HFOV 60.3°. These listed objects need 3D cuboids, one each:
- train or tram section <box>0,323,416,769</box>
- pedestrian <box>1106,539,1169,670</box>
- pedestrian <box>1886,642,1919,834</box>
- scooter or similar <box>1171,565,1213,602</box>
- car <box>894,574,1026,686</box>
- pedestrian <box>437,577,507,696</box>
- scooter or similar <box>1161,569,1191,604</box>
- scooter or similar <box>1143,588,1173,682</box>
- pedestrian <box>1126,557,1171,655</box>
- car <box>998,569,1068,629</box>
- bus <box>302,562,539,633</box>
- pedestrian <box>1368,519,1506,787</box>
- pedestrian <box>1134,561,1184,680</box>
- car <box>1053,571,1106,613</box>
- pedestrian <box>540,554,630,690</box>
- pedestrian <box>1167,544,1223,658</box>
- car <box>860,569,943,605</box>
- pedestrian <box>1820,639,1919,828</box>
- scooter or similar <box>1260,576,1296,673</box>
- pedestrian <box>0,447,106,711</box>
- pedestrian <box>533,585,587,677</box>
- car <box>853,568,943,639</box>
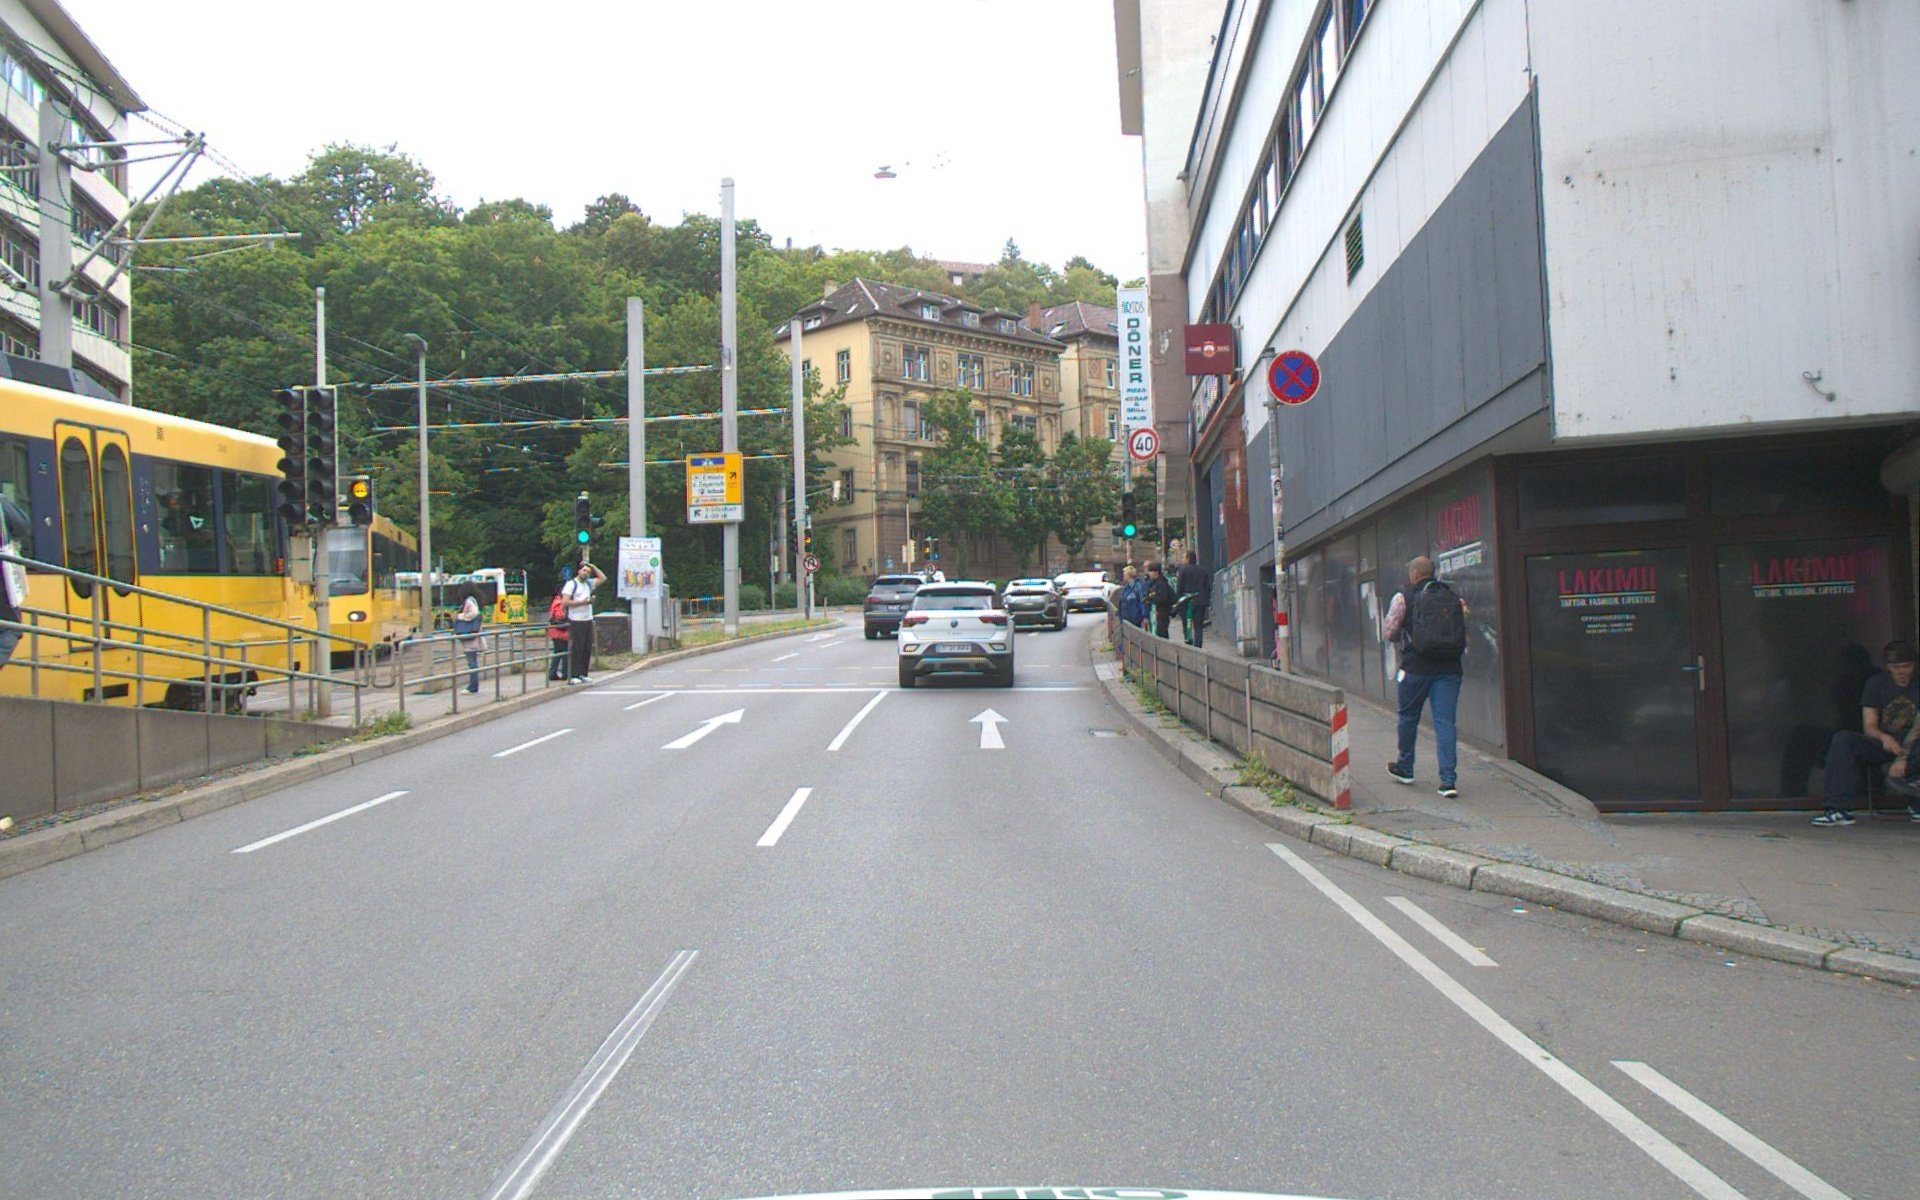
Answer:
[{"bbox_3d":[-9.500,-0.478,17.447,2.824,3.726,14.473,-4,2,-1],"label":"train or tram section"},{"bbox_3d":[2.921,0.074,27.260,0.926,2.098,0.779,-2,0,3],"label":"pedestrian"},{"bbox_3d":[6.745,0.891,10.794,1.082,1.209,0.743,0,0,17],"label":"pedestrian"},{"bbox_3d":[8.643,-0.629,61.719,1.422,1.276,0.553,-4,1,-24],"label":"scooter or similar"},{"bbox_3d":[-0.003,0.419,26.080,1.898,1.594,4.046,1,0,0],"label":"car"},{"bbox_3d":[-6.974,0.509,23.679,0.662,1.653,1.001,-2,0,-1],"label":"pedestrian"},{"bbox_3d":[7.867,-0.490,60.313,0.994,1.202,0.374,-3,0,-24],"label":"scooter or similar"},{"bbox_3d":[2.788,0.478,23.357,0.346,1.298,0.814,-1,0,2],"label":"scooter or similar"},{"bbox_3d":[3.374,0.105,29.661,0.550,1.679,0.591,-7,0,3],"label":"pedestrian"},{"bbox_3d":[2.090,-0.049,46.444,1.863,1.601,3.836,0,0,4],"label":"car"},{"bbox_3d":[-27.448,-0.129,84.253,11.265,3.082,3.393,-2,1,13],"label":"bus"},{"bbox_3d":[3.360,0.358,11.714,0.706,1.817,0.883,0,0,0],"label":"pedestrian"},{"bbox_3d":[3.096,0.313,25.805,0.722,1.825,0.655,-1,0,3],"label":"pedestrian"},{"bbox_3d":[4.607,-0.305,64.118,1.898,1.532,3.807,-1,0,2],"label":"car"},{"bbox_3d":[-6.043,0.375,26.666,0.946,2.103,1.032,-4,-3,19],"label":"pedestrian"},{"bbox_3d":[3.954,0.009,27.871,0.712,1.839,0.654,-5,0,3],"label":"pedestrian"},{"bbox_3d":[-3.305,-0.727,94.320,1.963,1.882,4.966,-2,-2,40],"label":"car"},{"bbox_3d":[6.485,0.910,11.549,0.719,1.257,0.718,0,0,16],"label":"pedestrian"},{"bbox_3d":[4.424,0.332,22.975,0.418,1.298,0.981,-2,1,13],"label":"scooter or similar"},{"bbox_3d":[-6.734,-0.105,11.457,1.094,1.709,1.041,-2,-5,-1],"label":"pedestrian"},{"bbox_3d":[-6.661,0.519,27.545,0.564,1.490,0.676,-4,-3,19],"label":"pedestrian"},{"bbox_3d":[-1.592,0.060,44.075,1.800,1.770,4.003,-1,1,6],"label":"car"}]
